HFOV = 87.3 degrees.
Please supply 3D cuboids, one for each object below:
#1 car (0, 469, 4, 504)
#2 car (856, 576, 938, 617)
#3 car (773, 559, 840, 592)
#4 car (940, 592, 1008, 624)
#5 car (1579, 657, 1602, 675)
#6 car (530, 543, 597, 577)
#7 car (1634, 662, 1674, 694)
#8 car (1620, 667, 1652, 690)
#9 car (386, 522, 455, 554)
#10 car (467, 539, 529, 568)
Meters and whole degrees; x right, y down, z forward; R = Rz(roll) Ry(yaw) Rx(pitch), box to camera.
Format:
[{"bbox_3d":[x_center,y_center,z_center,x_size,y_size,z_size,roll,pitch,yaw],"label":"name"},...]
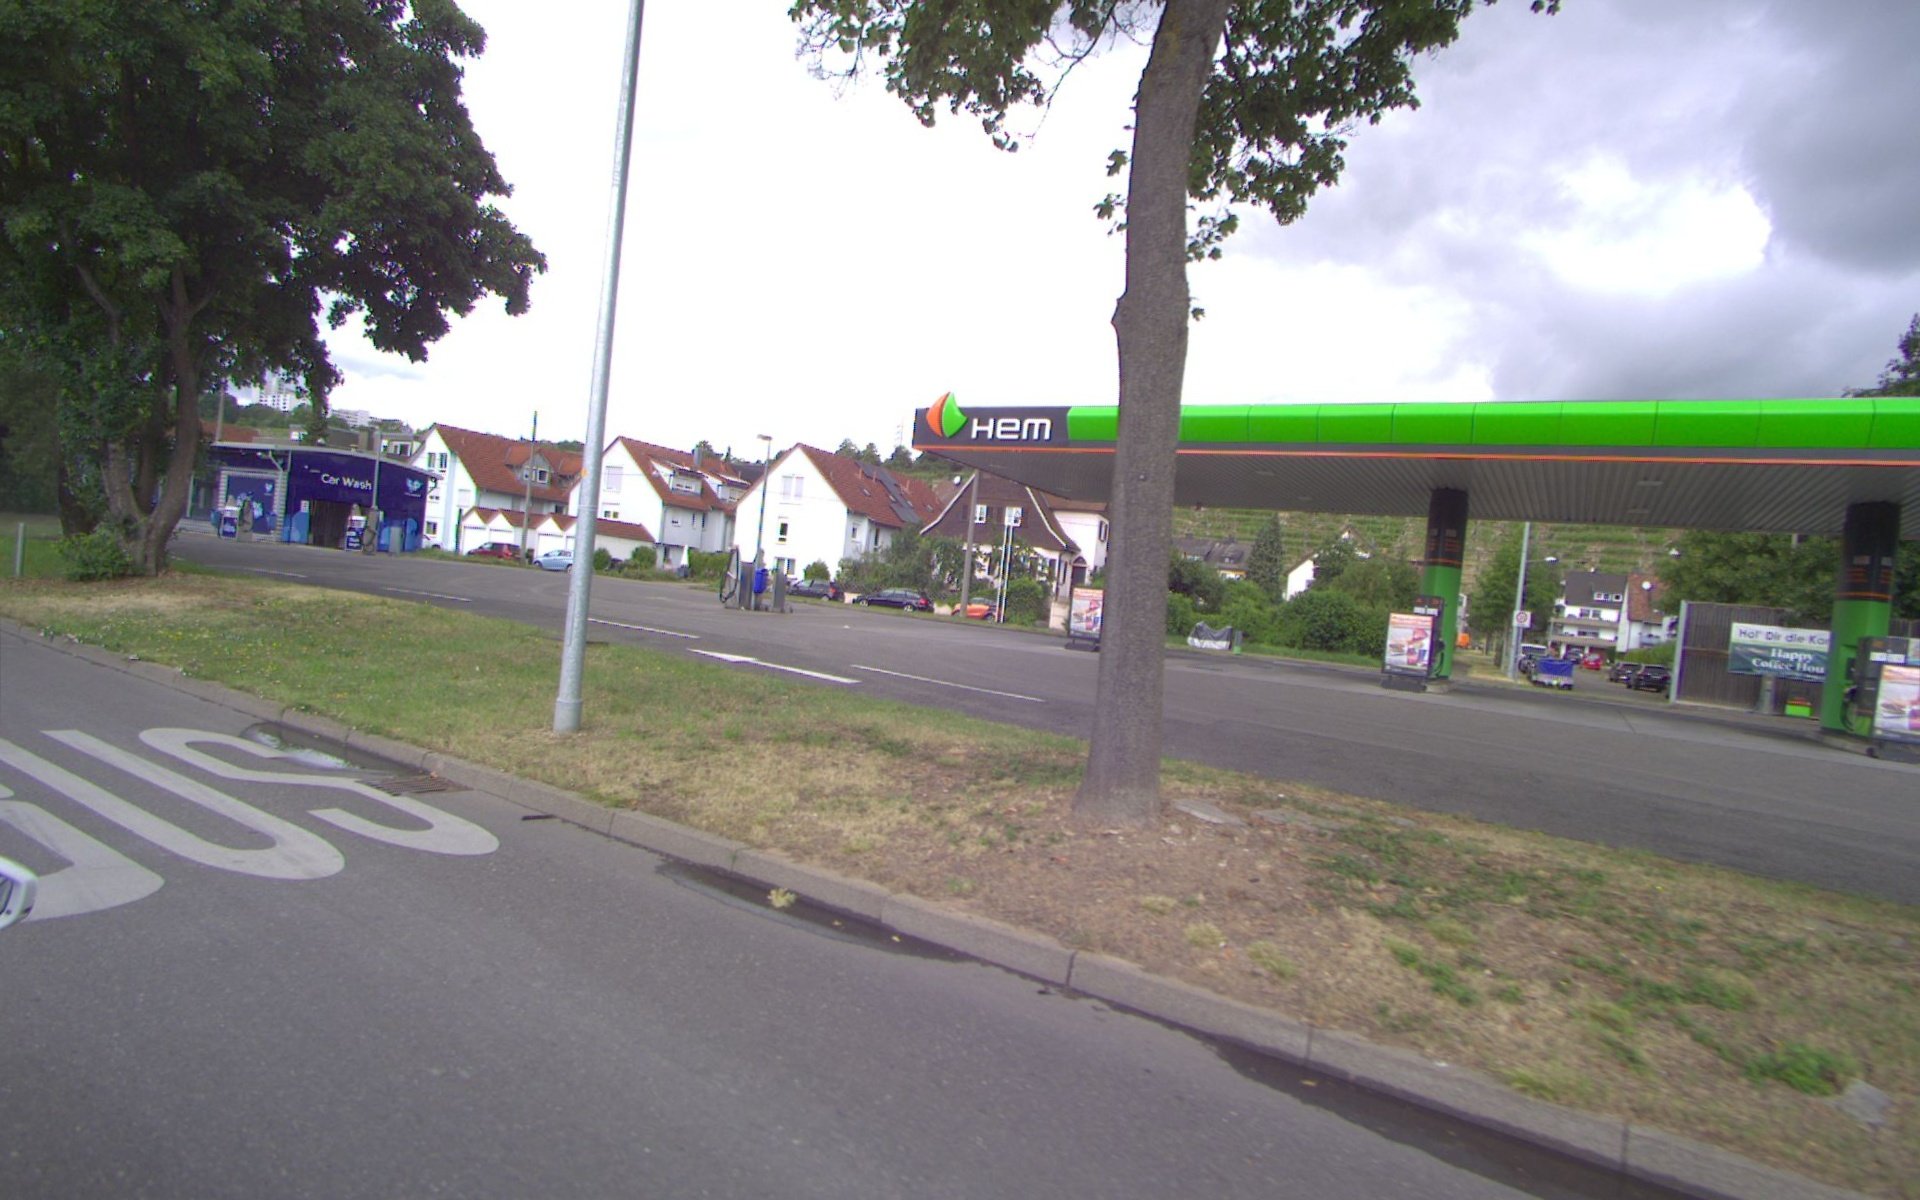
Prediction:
[{"bbox_3d":[-47.204,-5.571,47.591,1.992,1.704,4.538,6,1,-34],"label":"car"},{"bbox_3d":[-3.451,-0.165,55.218,3.925,1.709,1.762,7,-1,20],"label":"car"},{"bbox_3d":[-9.786,-1.572,64.137,3.934,1.705,1.691,7,1,32],"label":"car"},{"bbox_3d":[0.756,0.432,53.936,3.273,1.279,1.421,7,-1,20],"label":"car"},{"bbox_3d":[66.734,6.996,106.440,1.807,1.661,3.987,7,1,34],"label":"car"},{"bbox_3d":[-24.767,-2.476,62.805,3.667,1.618,1.539,7,-1,20],"label":"car"},{"bbox_3d":[44.496,5.039,64.548,1.709,1.754,3.993,6,-2,32],"label":"car"},{"bbox_3d":[51.596,6.002,76.834,1.709,1.433,3.993,6,-2,32],"label":"car"},{"bbox_3d":[-40.961,-4.690,76.522,1.747,1.704,4.225,6,-2,29],"label":"car"},{"bbox_3d":[-29.695,-2.989,64.643,3.354,1.411,1.587,7,-1,20],"label":"car"}]
